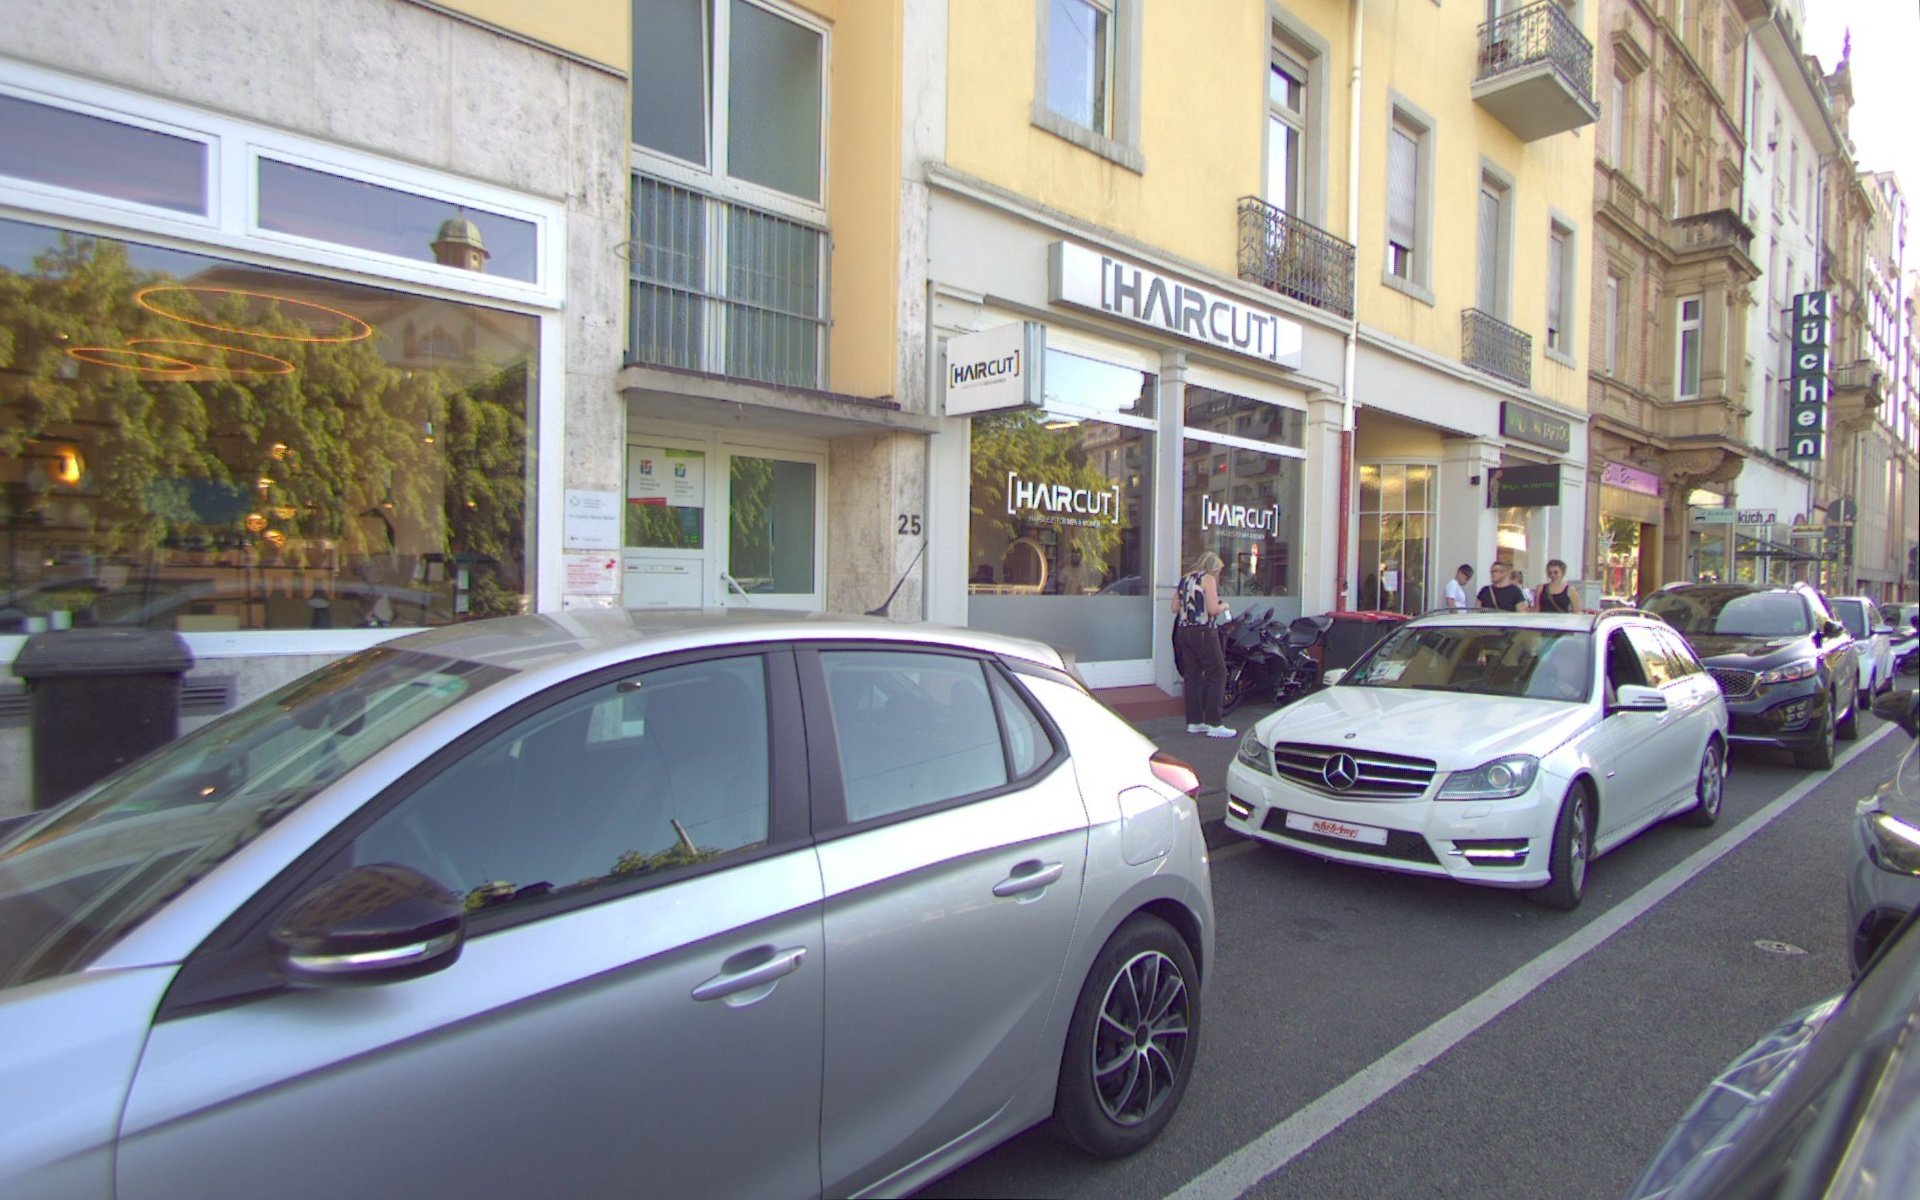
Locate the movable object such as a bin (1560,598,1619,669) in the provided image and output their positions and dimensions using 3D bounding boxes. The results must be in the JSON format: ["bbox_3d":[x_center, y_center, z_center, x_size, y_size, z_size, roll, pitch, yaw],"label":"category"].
[{"bbox_3d":[10.225,0.528,16.448,0.608,1.079,0.606,0,4,-41],"label":"movable object such as a bin"}]

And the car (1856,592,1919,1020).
[{"bbox_3d":[5.398,0.713,4.321,4.297,1.467,1.846,0,1,-41],"label":"car"}]

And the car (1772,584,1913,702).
[{"bbox_3d":[12.816,0.546,14.654,2.748,1.537,1.273,0,1,-43],"label":"car"}]

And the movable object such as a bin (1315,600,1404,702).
[{"bbox_3d":[4.490,0.556,11.375,0.608,1.054,0.661,1,3,-38],"label":"movable object such as a bin"}]

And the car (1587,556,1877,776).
[{"bbox_3d":[8.024,0.502,10.338,4.498,1.758,1.756,0,1,-45],"label":"car"}]

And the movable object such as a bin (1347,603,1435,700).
[{"bbox_3d":[4.997,0.577,11.744,0.608,1.037,0.669,1,3,-38],"label":"movable object such as a bin"}]

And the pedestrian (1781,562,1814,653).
[{"bbox_3d":[16.675,0.135,20.150,0.473,1.785,0.434,0,0,-41],"label":"pedestrian"}]

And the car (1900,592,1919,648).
[{"bbox_3d":[26.499,0.513,26.994,3.736,1.435,1.736,0,1,-41],"label":"car"}]

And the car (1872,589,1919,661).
[{"bbox_3d":[22.146,0.523,23.060,4.096,1.537,1.734,0,1,-44],"label":"car"}]

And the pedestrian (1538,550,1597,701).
[{"bbox_3d":[6.842,0.275,11.400,0.512,1.653,0.409,1,0,39],"label":"pedestrian"}]

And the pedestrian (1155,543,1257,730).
[{"bbox_3d":[2.275,0.309,9.361,0.523,1.653,0.697,0,2,-43],"label":"pedestrian"}]

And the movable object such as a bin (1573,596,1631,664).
[{"bbox_3d":[10.708,0.486,16.878,0.608,1.079,0.606,0,4,-41],"label":"movable object such as a bin"}]

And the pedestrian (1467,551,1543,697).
[{"bbox_3d":[6.355,0.270,11.820,0.453,1.653,0.619,0,0,-26],"label":"pedestrian"}]

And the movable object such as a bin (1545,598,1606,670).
[{"bbox_3d":[9.755,0.521,16.042,0.608,1.079,0.606,0,4,-41],"label":"movable object such as a bin"}]

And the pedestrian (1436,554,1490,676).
[{"bbox_3d":[6.990,0.205,14.084,0.513,1.681,0.339,1,1,-12],"label":"pedestrian"}]

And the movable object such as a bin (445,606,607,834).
[{"bbox_3d":[-2.368,0.601,5.500,0.609,1.080,0.704,0,4,-41],"label":"movable object such as a bin"}]

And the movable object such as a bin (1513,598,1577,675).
[{"bbox_3d":[8.808,0.533,15.242,0.608,1.079,0.606,0,4,-41],"label":"movable object such as a bin"}]

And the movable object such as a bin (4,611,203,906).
[{"bbox_3d":[-3.674,0.618,4.361,0.609,1.080,0.704,0,4,-41],"label":"movable object such as a bin"}]

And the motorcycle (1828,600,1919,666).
[{"bbox_3d":[19.066,0.658,20.463,2.137,1.295,0.866,1,0,7],"label":"motorcycle"}]

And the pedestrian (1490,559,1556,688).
[{"bbox_3d":[7.570,0.304,13.623,0.582,1.681,0.451,2,1,2],"label":"pedestrian"}]

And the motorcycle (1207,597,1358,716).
[{"bbox_3d":[3.378,0.535,10.503,1.975,1.105,0.551,0,3,-42],"label":"motorcycle"}]

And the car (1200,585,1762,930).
[{"bbox_3d":[3.544,0.655,6.448,4.387,1.465,1.741,0,1,-42],"label":"car"}]

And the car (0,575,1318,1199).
[{"bbox_3d":[-0.891,0.675,2.435,4.009,1.445,1.672,0,1,-43],"label":"car"}]

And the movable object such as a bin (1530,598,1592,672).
[{"bbox_3d":[9.297,0.527,15.648,0.608,1.079,0.606,0,4,-41],"label":"movable object such as a bin"}]
